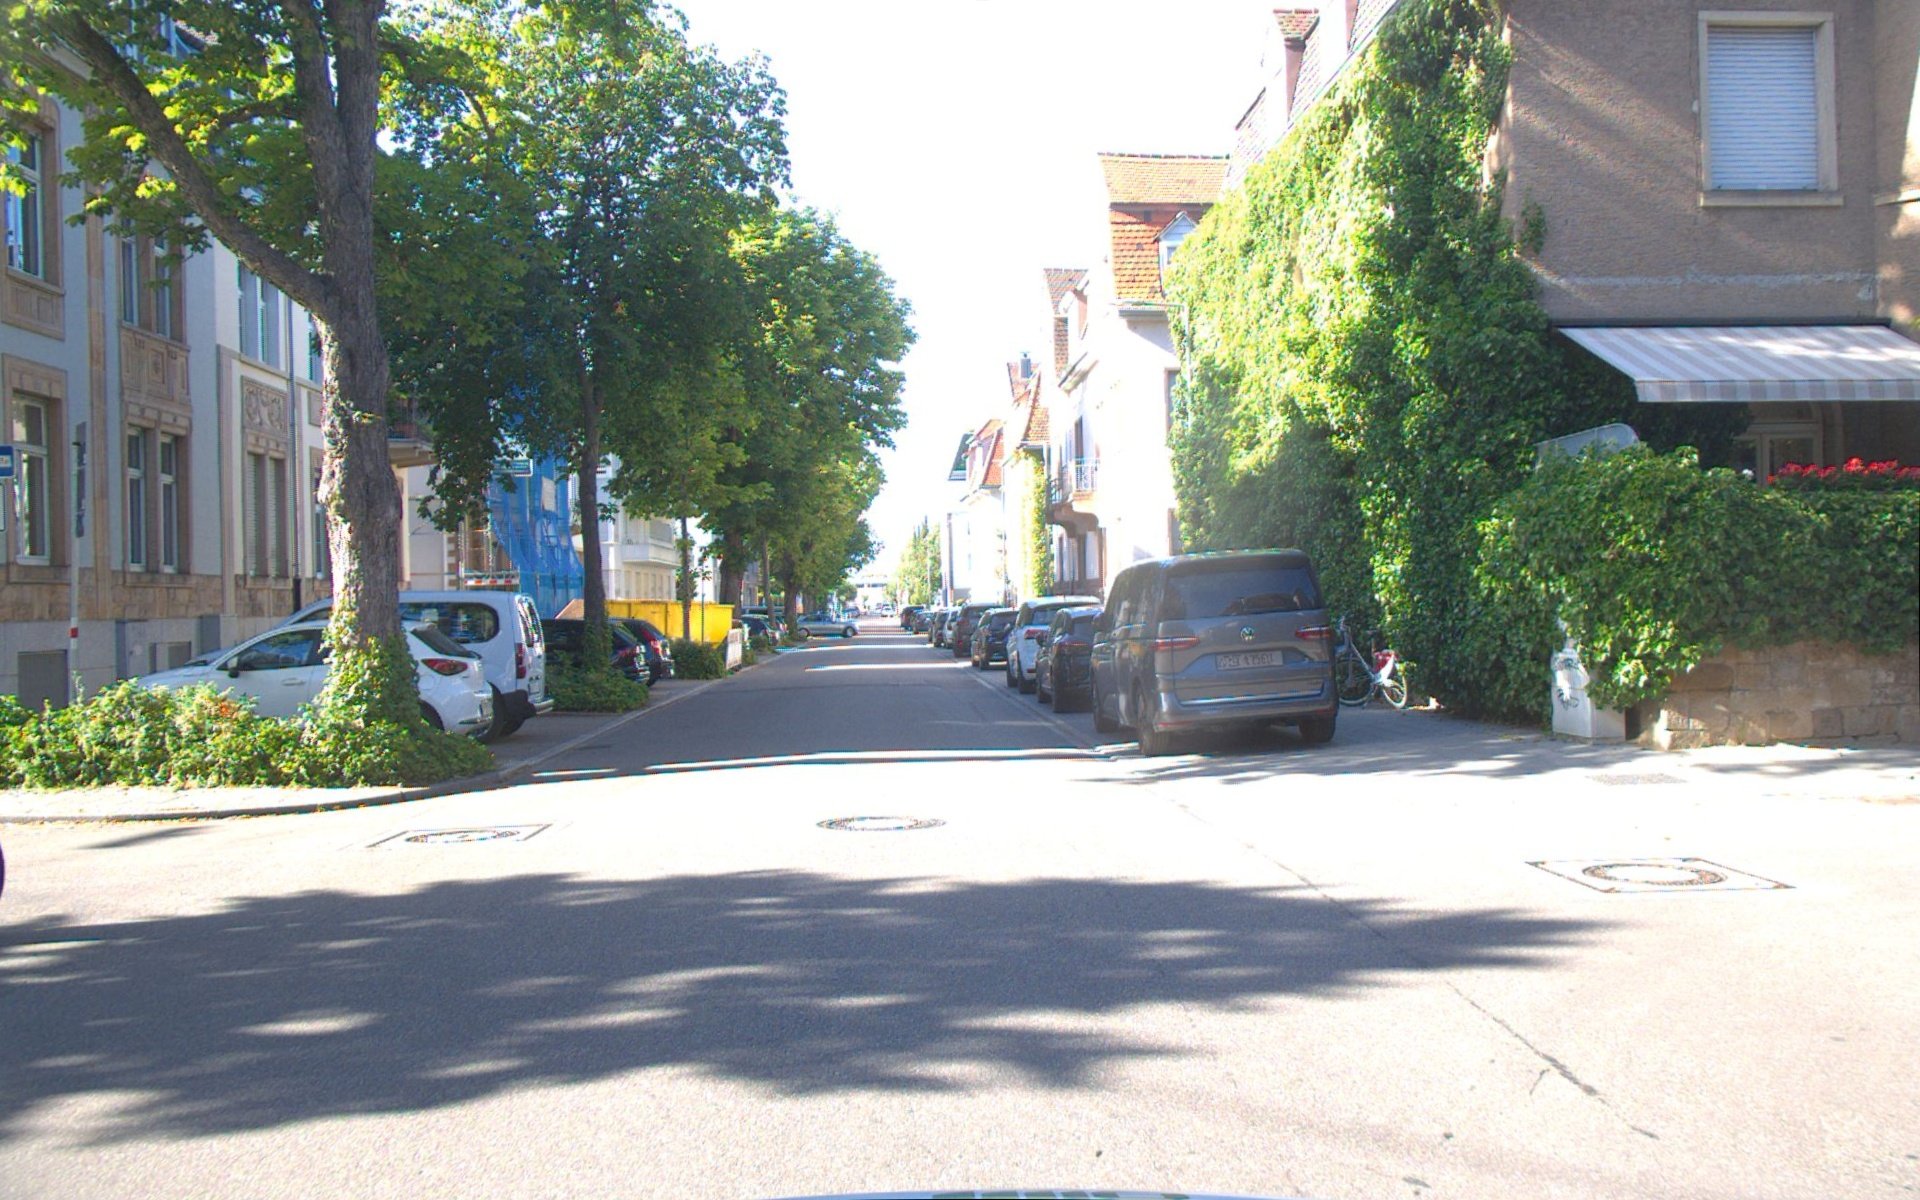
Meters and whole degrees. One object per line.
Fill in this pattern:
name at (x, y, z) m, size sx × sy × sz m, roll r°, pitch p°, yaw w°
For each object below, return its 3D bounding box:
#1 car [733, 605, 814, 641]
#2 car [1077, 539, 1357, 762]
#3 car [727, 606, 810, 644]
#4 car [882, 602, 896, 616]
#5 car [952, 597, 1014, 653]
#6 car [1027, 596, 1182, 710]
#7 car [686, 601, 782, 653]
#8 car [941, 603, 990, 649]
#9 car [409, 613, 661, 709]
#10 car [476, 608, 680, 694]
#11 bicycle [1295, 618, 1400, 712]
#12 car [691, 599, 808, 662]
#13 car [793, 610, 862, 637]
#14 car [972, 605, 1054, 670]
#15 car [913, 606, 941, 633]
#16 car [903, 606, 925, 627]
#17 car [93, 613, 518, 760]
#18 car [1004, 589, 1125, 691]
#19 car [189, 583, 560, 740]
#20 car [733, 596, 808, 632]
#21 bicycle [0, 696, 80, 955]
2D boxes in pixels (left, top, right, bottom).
car at (-9.532, 1.177, 84.664) m, size 3.925 × 1.765 × 1.894 m, roll 1°, pitch 0°, yaw -1°
car at (2.525, 0.461, 17.469) m, size 1.867 × 1.903 × 4.670 m, roll -4°, pitch 0°, yaw -3°
car at (-9.491, 1.230, 82.205) m, size 3.925 × 1.765 × 1.894 m, roll 1°, pitch 0°, yaw -1°
car at (-8.847, 1.164, 205.736) m, size 1.735 × 1.660 × 3.864 m, roll -1°, pitch 0°, yaw -2°
car at (0.681, 0.766, 52.182) m, size 1.735 × 1.660 × 3.864 m, roll -1°, pitch 0°, yaw -2°
car at (2.033, 0.719, 24.292) m, size 1.657 × 1.422 × 3.803 m, roll -4°, pitch 0°, yaw -3°
car at (-9.719, 1.151, 70.944) m, size 3.916 × 2.049 × 1.994 m, roll -2°, pitch -1°, yaw -12°
car at (0.180, 0.984, 64.482) m, size 1.735 × 1.660 × 3.864 m, roll -1°, pitch 0°, yaw -2°
car at (-7.384, 1.046, 29.016) m, size 3.906 × 1.495 × 1.863 m, roll -1°, pitch 1°, yaw -2°
car at (-7.764, 1.012, 33.898) m, size 3.916 × 1.579 × 1.832 m, roll -2°, pitch 0°, yaw -12°
bicycle at (4.655, 0.752, 20.032) m, size 0.576 × 1.041 × 2.368 m, roll -2°, pitch 0°, yaw -3°
car at (-7.429, 1.071, 58.162) m, size 3.916 × 2.049 × 1.994 m, roll -2°, pitch -1°, yaw -12°
car at (-7.798, 1.374, 97.208) m, size 3.915 × 1.434 × 1.697 m, roll -2°, pitch 0°, yaw -10°
car at (1.272, 0.879, 40.884) m, size 1.735 × 1.480 × 3.864 m, roll -1°, pitch 0°, yaw -2°
car at (-2.128, 1.246, 106.496) m, size 1.735 × 1.660 × 3.864 m, roll -1°, pitch 0°, yaw -2°
car at (-3.738, 1.330, 135.059) m, size 1.735 × 1.660 × 3.864 m, roll -1°, pitch 0°, yaw -2°
car at (-6.943, 0.916, 17.924) m, size 3.911 × 1.490 × 1.795 m, roll 1°, pitch -1°, yaw -7°
car at (1.801, 0.671, 29.647) m, size 1.753 × 1.646 × 3.864 m, roll -1°, pitch 0°, yaw -2°
car at (-6.994, 0.737, 20.125) m, size 3.911 × 1.791 × 1.795 m, roll 1°, pitch -1°, yaw -7°
car at (-10.453, 0.765, 91.333) m, size 3.925 × 1.873 × 2.000 m, roll 1°, pitch 0°, yaw -1°
bicycle at (-5.179, 1.056, 7.467) m, size 1.950 × 1.084 × 0.760 m, roll -3°, pitch 1°, yaw 0°
